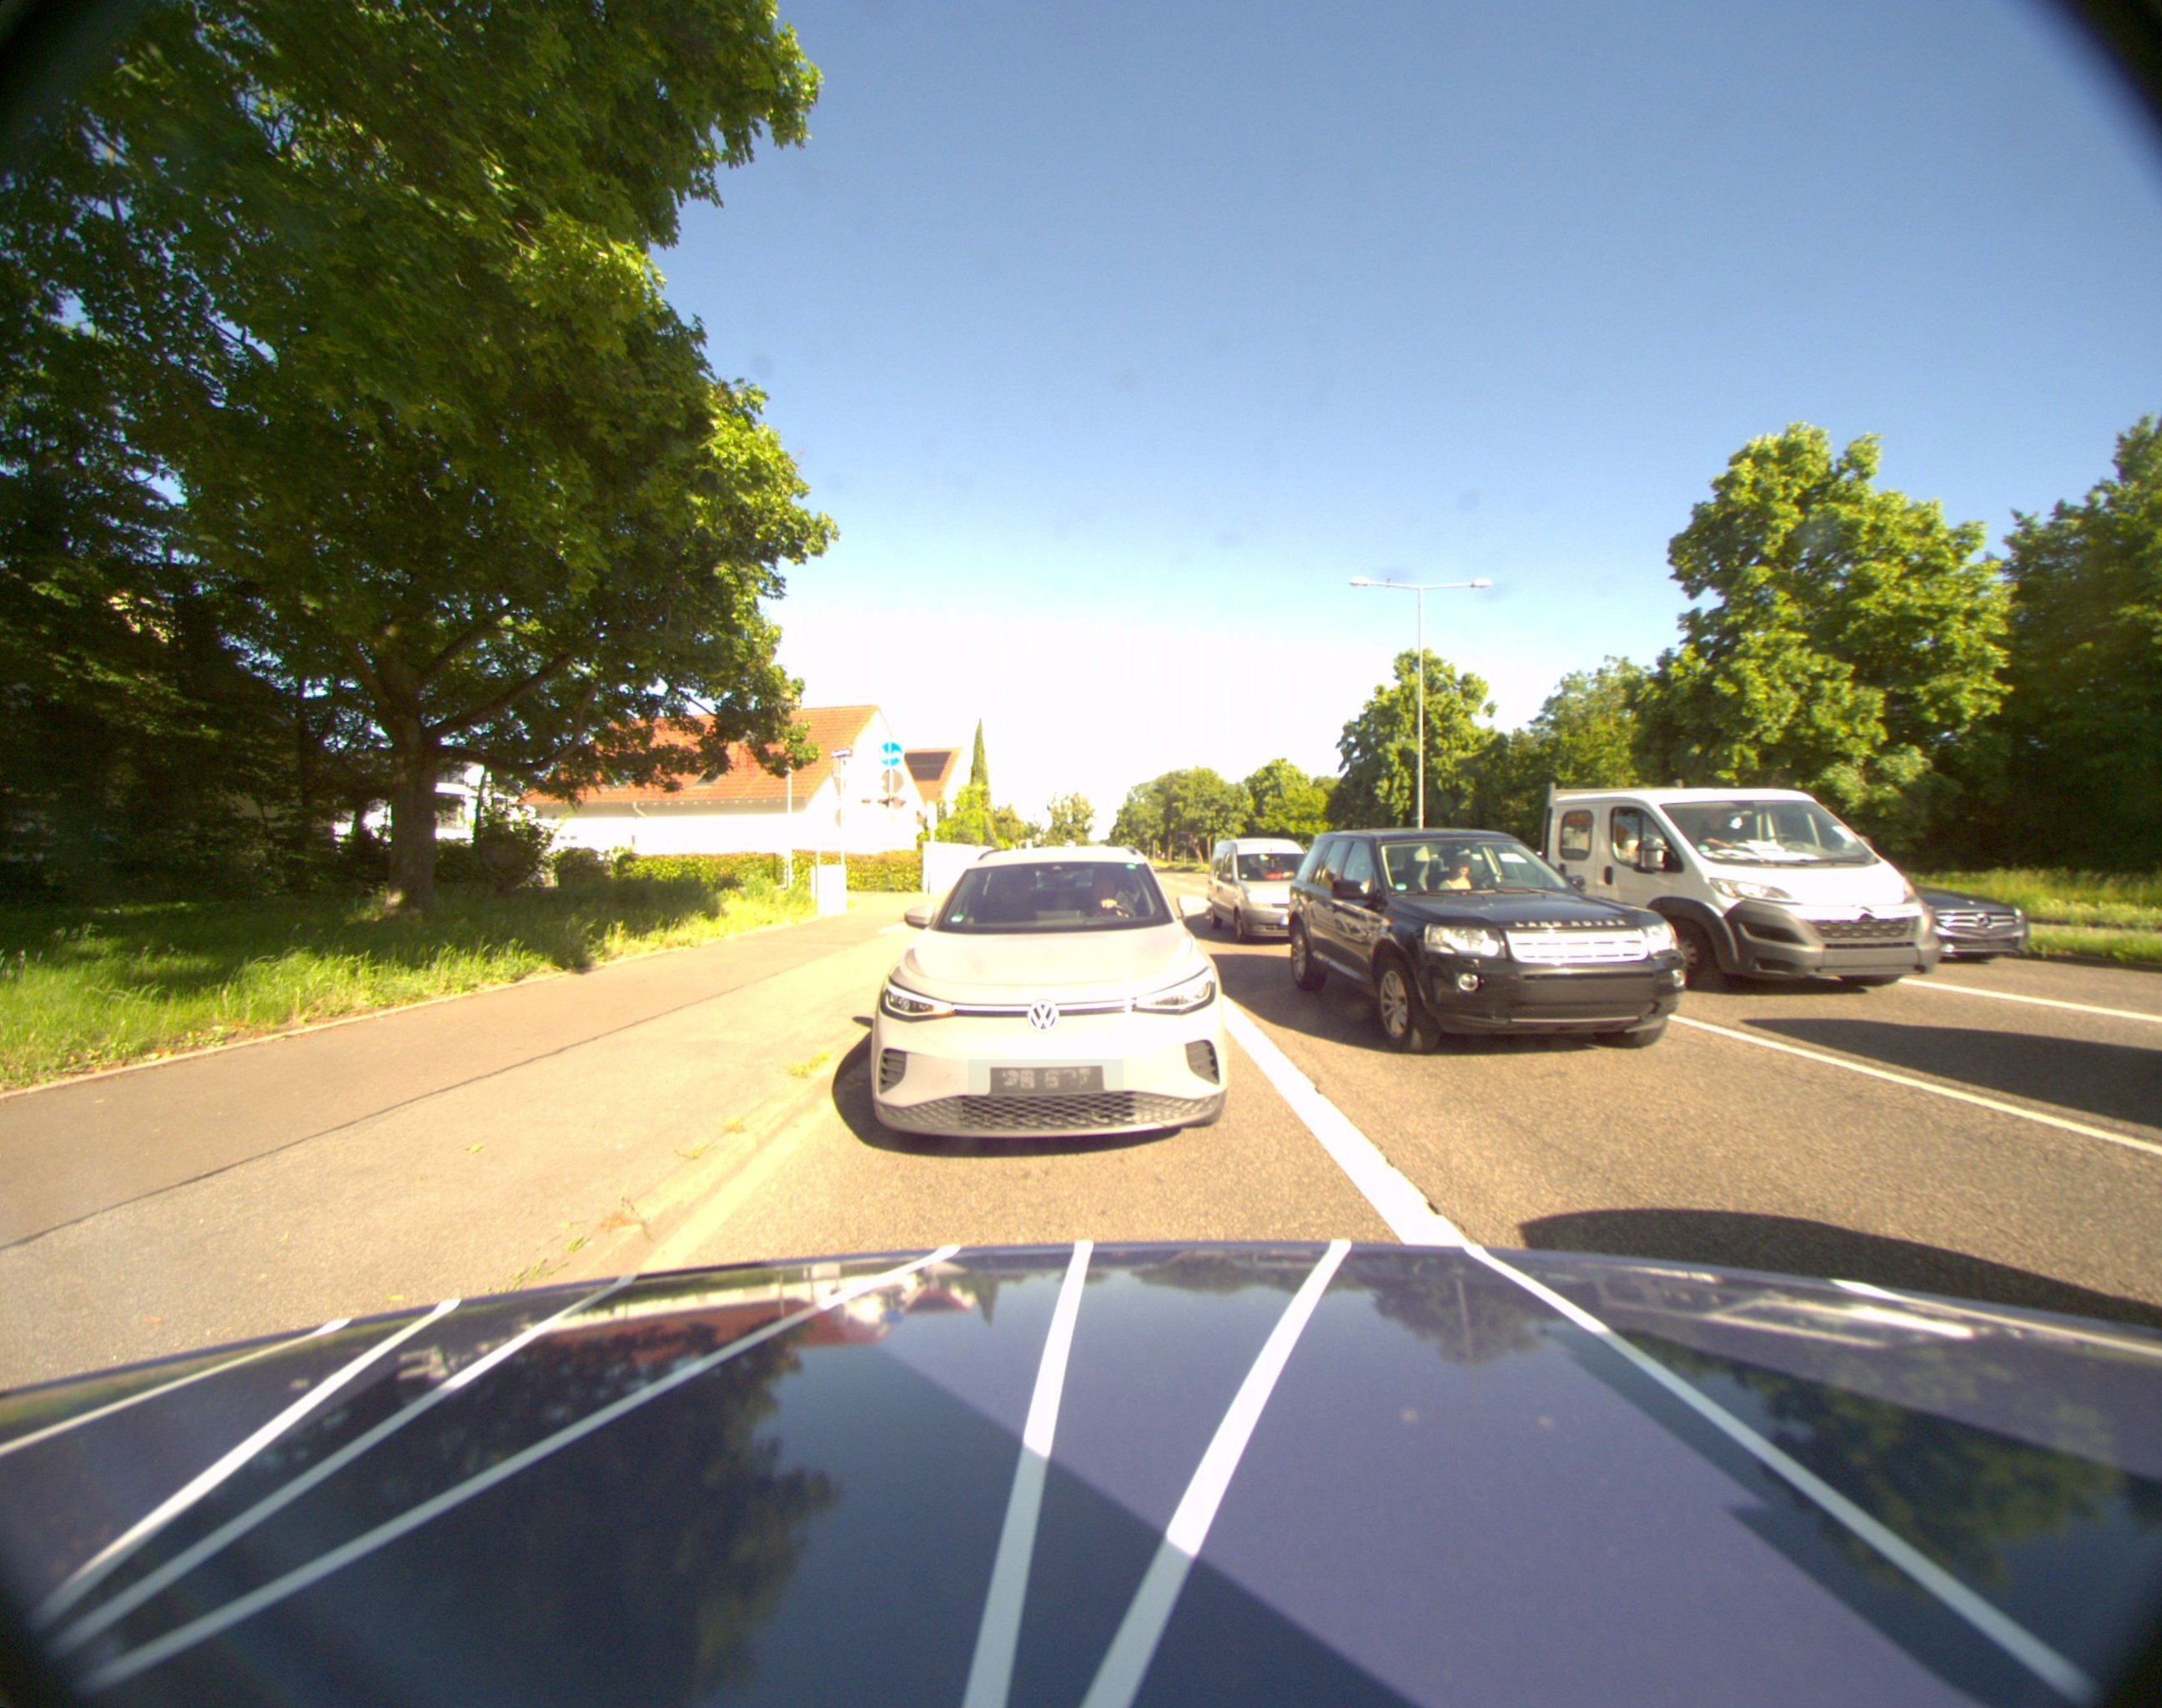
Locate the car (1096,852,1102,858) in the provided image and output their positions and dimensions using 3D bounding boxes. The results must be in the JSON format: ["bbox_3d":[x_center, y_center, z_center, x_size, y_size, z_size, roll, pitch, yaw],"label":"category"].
[{"bbox_3d":[5.098,0.278,216.902,1.704,1.466,3.931,0,0,1],"label":"car"}]

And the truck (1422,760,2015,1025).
[{"bbox_3d":[7.211,0.307,10.176,2.185,2.307,6.842,-2,1,0],"label":"truck"}]

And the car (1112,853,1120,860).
[{"bbox_3d":[8.096,0.578,174.334,1.704,1.466,3.931,-1,0,0],"label":"car"}]

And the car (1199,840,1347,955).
[{"bbox_3d":[3.323,0.657,13.966,1.632,1.741,4.386,-2,1,1],"label":"car"}]

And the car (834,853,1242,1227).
[{"bbox_3d":[-0.171,0.851,5.576,1.858,1.679,4.206,0,1,1],"label":"car"}]

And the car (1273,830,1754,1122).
[{"bbox_3d":[3.164,0.717,6.772,1.816,1.721,4.386,-2,1,1],"label":"car"}]

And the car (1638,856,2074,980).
[{"bbox_3d":[10.675,0.753,11.084,1.816,1.382,4.385,1,1,-1],"label":"car"}]

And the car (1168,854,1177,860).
[{"bbox_3d":[20.899,0.697,173.661,1.792,1.409,4.000,0,0,1],"label":"car"}]

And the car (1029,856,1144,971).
[{"bbox_3d":[0.107,0.869,13.020,1.632,1.586,4.024,-2,1,1],"label":"car"}]
